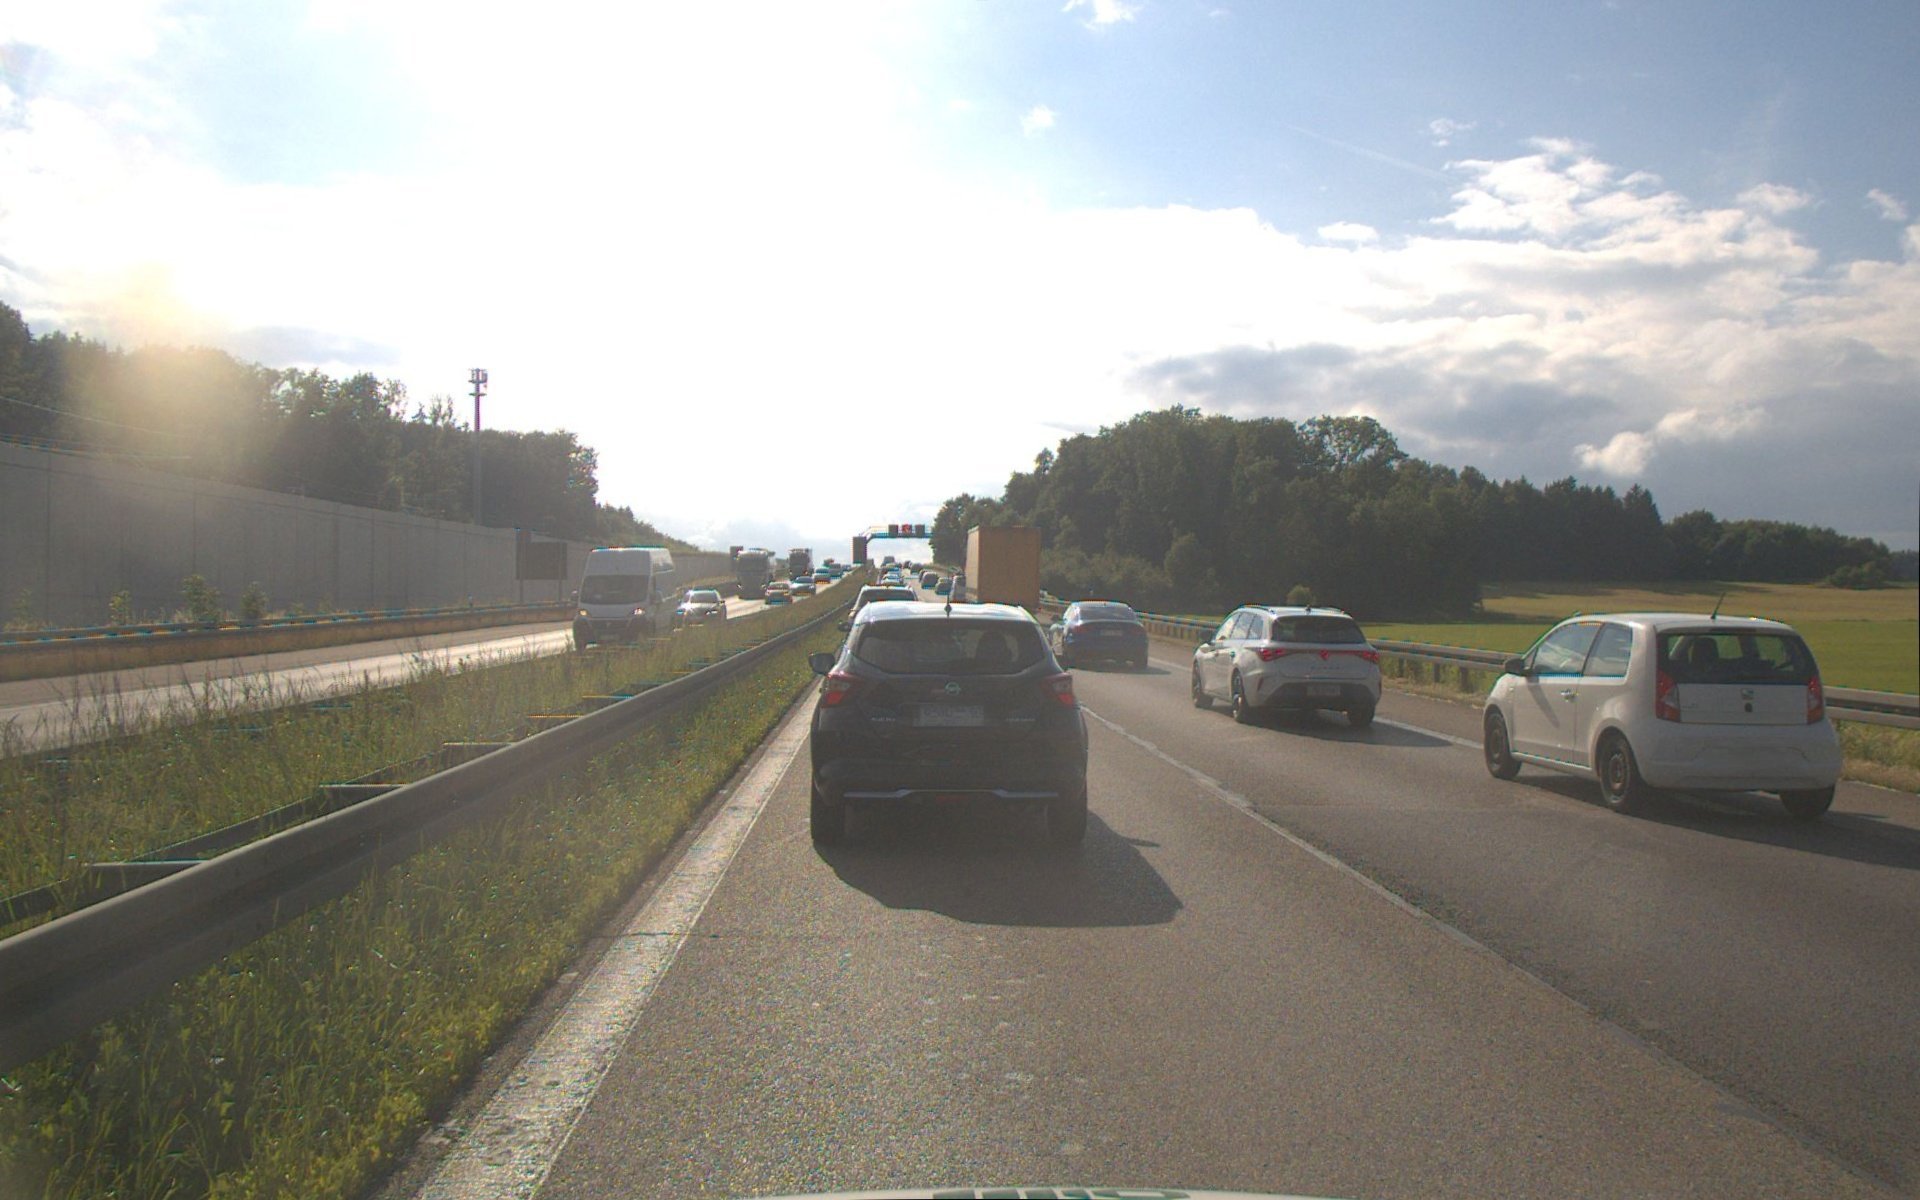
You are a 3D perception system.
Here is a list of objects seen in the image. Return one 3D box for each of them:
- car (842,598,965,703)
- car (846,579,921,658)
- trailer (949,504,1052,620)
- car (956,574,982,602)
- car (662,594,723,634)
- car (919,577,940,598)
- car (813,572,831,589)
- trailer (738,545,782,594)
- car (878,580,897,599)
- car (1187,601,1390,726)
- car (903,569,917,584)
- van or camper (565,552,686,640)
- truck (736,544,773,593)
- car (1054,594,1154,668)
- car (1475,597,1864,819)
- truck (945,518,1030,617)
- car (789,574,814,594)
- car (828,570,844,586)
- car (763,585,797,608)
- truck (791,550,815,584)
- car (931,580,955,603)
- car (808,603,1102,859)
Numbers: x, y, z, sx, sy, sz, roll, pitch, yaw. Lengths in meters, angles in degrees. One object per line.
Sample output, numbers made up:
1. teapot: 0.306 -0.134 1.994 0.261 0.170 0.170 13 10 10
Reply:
1. car: -0.805 0.694 24.138 1.640 1.391 3.595 1 0 -1
2. car: -1.759 0.428 38.868 1.640 1.756 3.595 1 0 -1
3. trailer: 1.577 -1.476 72.173 3.478 4.535 12.714 1 0 -3
4. car: 0.576 -0.810 110.289 1.633 1.785 3.326 1 0 -1
5. car: -10.890 0.563 67.615 1.806 1.534 4.549 1 0 -1
6. car: -3.098 -1.217 166.464 1.954 2.049 3.997 1 0 -3
7. car: -16.036 -2.244 192.322 1.822 1.866 4.279 1 0 -2
8. trailer: -16.965 -2.535 141.093 2.489 3.837 12.536 -1 0 -2
9. car: -7.944 -1.134 180.364 1.954 2.049 3.997 1 0 -3
10. car: 4.187 0.765 21.708 1.588 1.471 4.143 1 0 -4
11. car: -7.349 -3.457 242.511 1.954 2.049 3.997 1 0 -3
12. van or camper: -9.122 -0.084 45.693 2.122 2.244 6.257 1 0 -1
13. truck: -16.755 -2.543 135.107 2.501 3.865 5.415 -1 0 -2
14. car: 3.104 0.649 36.264 1.712 1.501 4.145 1 0 -1
15. car: 5.560 0.766 13.404 1.518 1.521 3.375 1 1 -4
16. truck: 1.217 -1.468 78.775 3.511 4.456 6.684 1 0 -3
17. car: -13.453 -1.335 140.541 1.767 1.543 4.689 1 0 -1
18. car: -16.875 -2.988 224.890 1.953 1.916 4.785 -2 0 -2
19. car: -12.364 -0.220 113.869 1.953 1.512 4.397 1 0 -1
20. truck: -20.170 -4.222 212.685 2.699 4.162 6.950 0 0 -2
21. car: -1.552 -0.735 148.509 1.954 2.049 3.997 1 0 -3
22. car: -0.050 0.764 11.224 1.675 1.451 3.377 1 0 -1
